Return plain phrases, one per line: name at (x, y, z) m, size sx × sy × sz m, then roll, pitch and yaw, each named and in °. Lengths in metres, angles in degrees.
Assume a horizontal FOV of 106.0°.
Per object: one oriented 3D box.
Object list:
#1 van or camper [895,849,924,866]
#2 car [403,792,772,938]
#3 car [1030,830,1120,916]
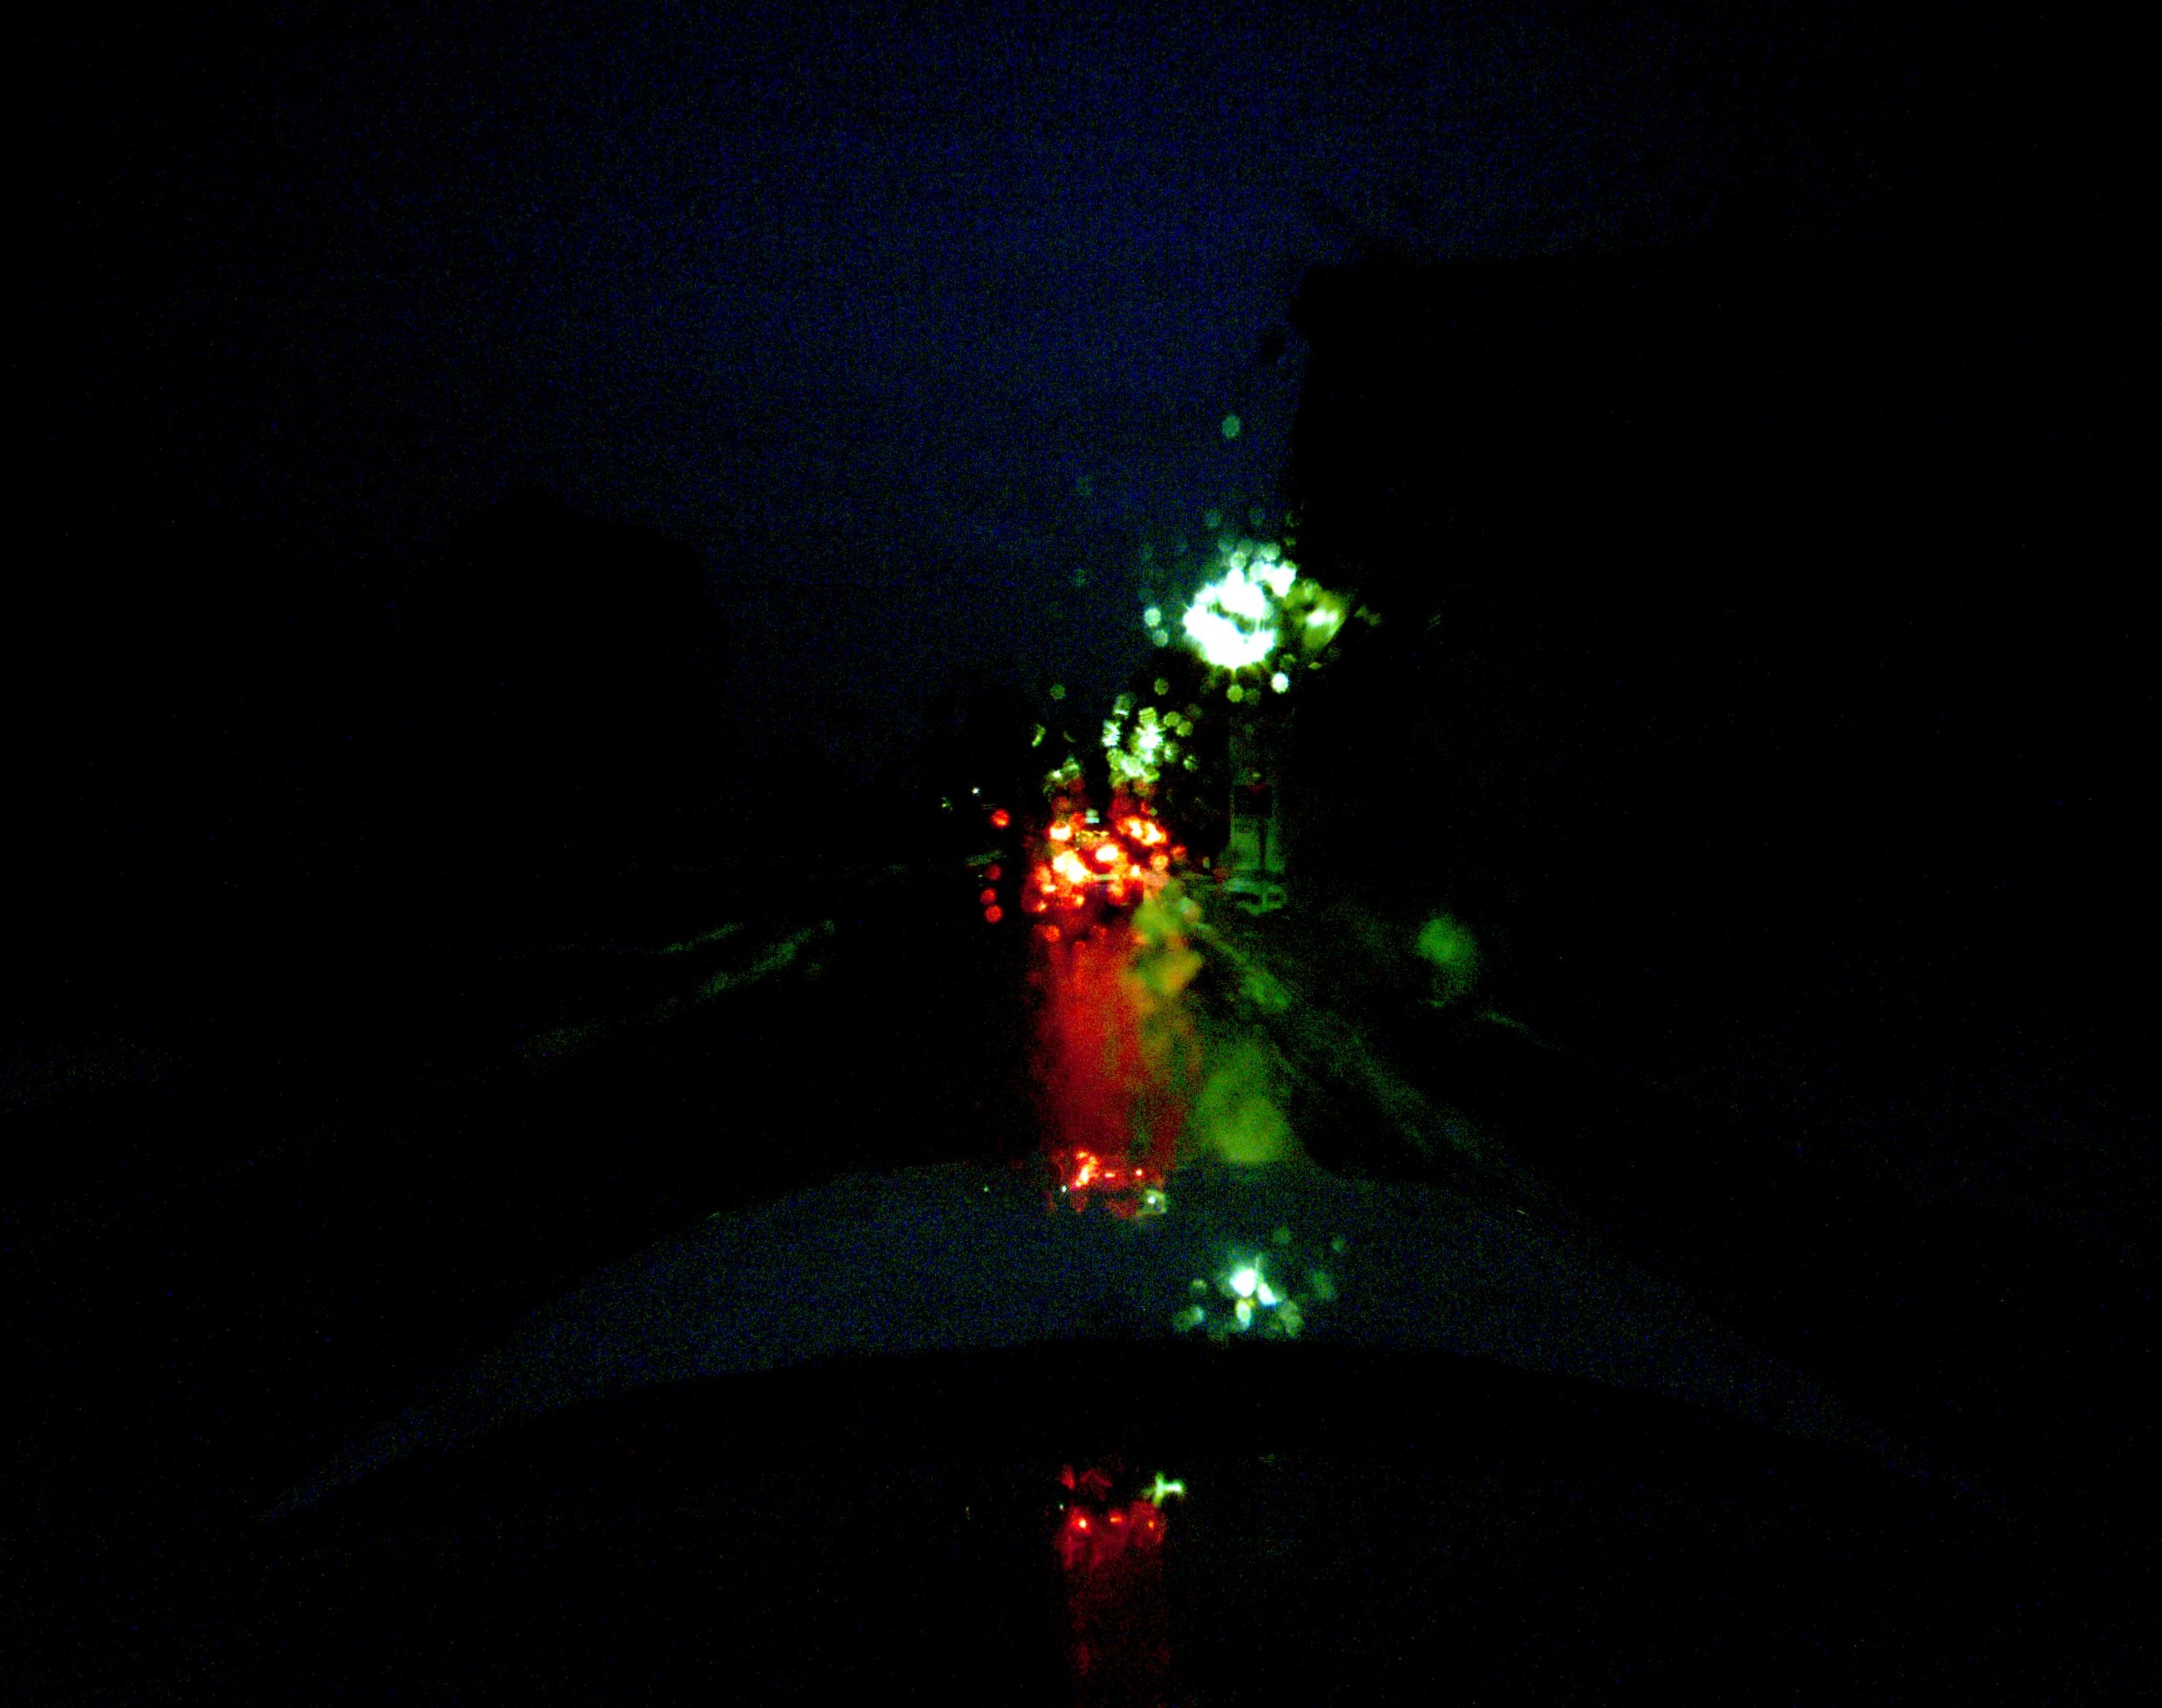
van or camper at (-11.994, 0.259, 56.890) m, size 1.289 × 1.101 × 3.246 m, roll 0°, pitch -2°, yaw -25°
car at (-9.733, 0.218, 16.710) m, size 6.133 × 2.553 × 1.981 m, roll 0°, pitch -1°, yaw -30°
car at (-0.046, 0.383, 19.384) m, size 1.814 × 1.796 × 3.582 m, roll -2°, pitch 1°, yaw 4°
